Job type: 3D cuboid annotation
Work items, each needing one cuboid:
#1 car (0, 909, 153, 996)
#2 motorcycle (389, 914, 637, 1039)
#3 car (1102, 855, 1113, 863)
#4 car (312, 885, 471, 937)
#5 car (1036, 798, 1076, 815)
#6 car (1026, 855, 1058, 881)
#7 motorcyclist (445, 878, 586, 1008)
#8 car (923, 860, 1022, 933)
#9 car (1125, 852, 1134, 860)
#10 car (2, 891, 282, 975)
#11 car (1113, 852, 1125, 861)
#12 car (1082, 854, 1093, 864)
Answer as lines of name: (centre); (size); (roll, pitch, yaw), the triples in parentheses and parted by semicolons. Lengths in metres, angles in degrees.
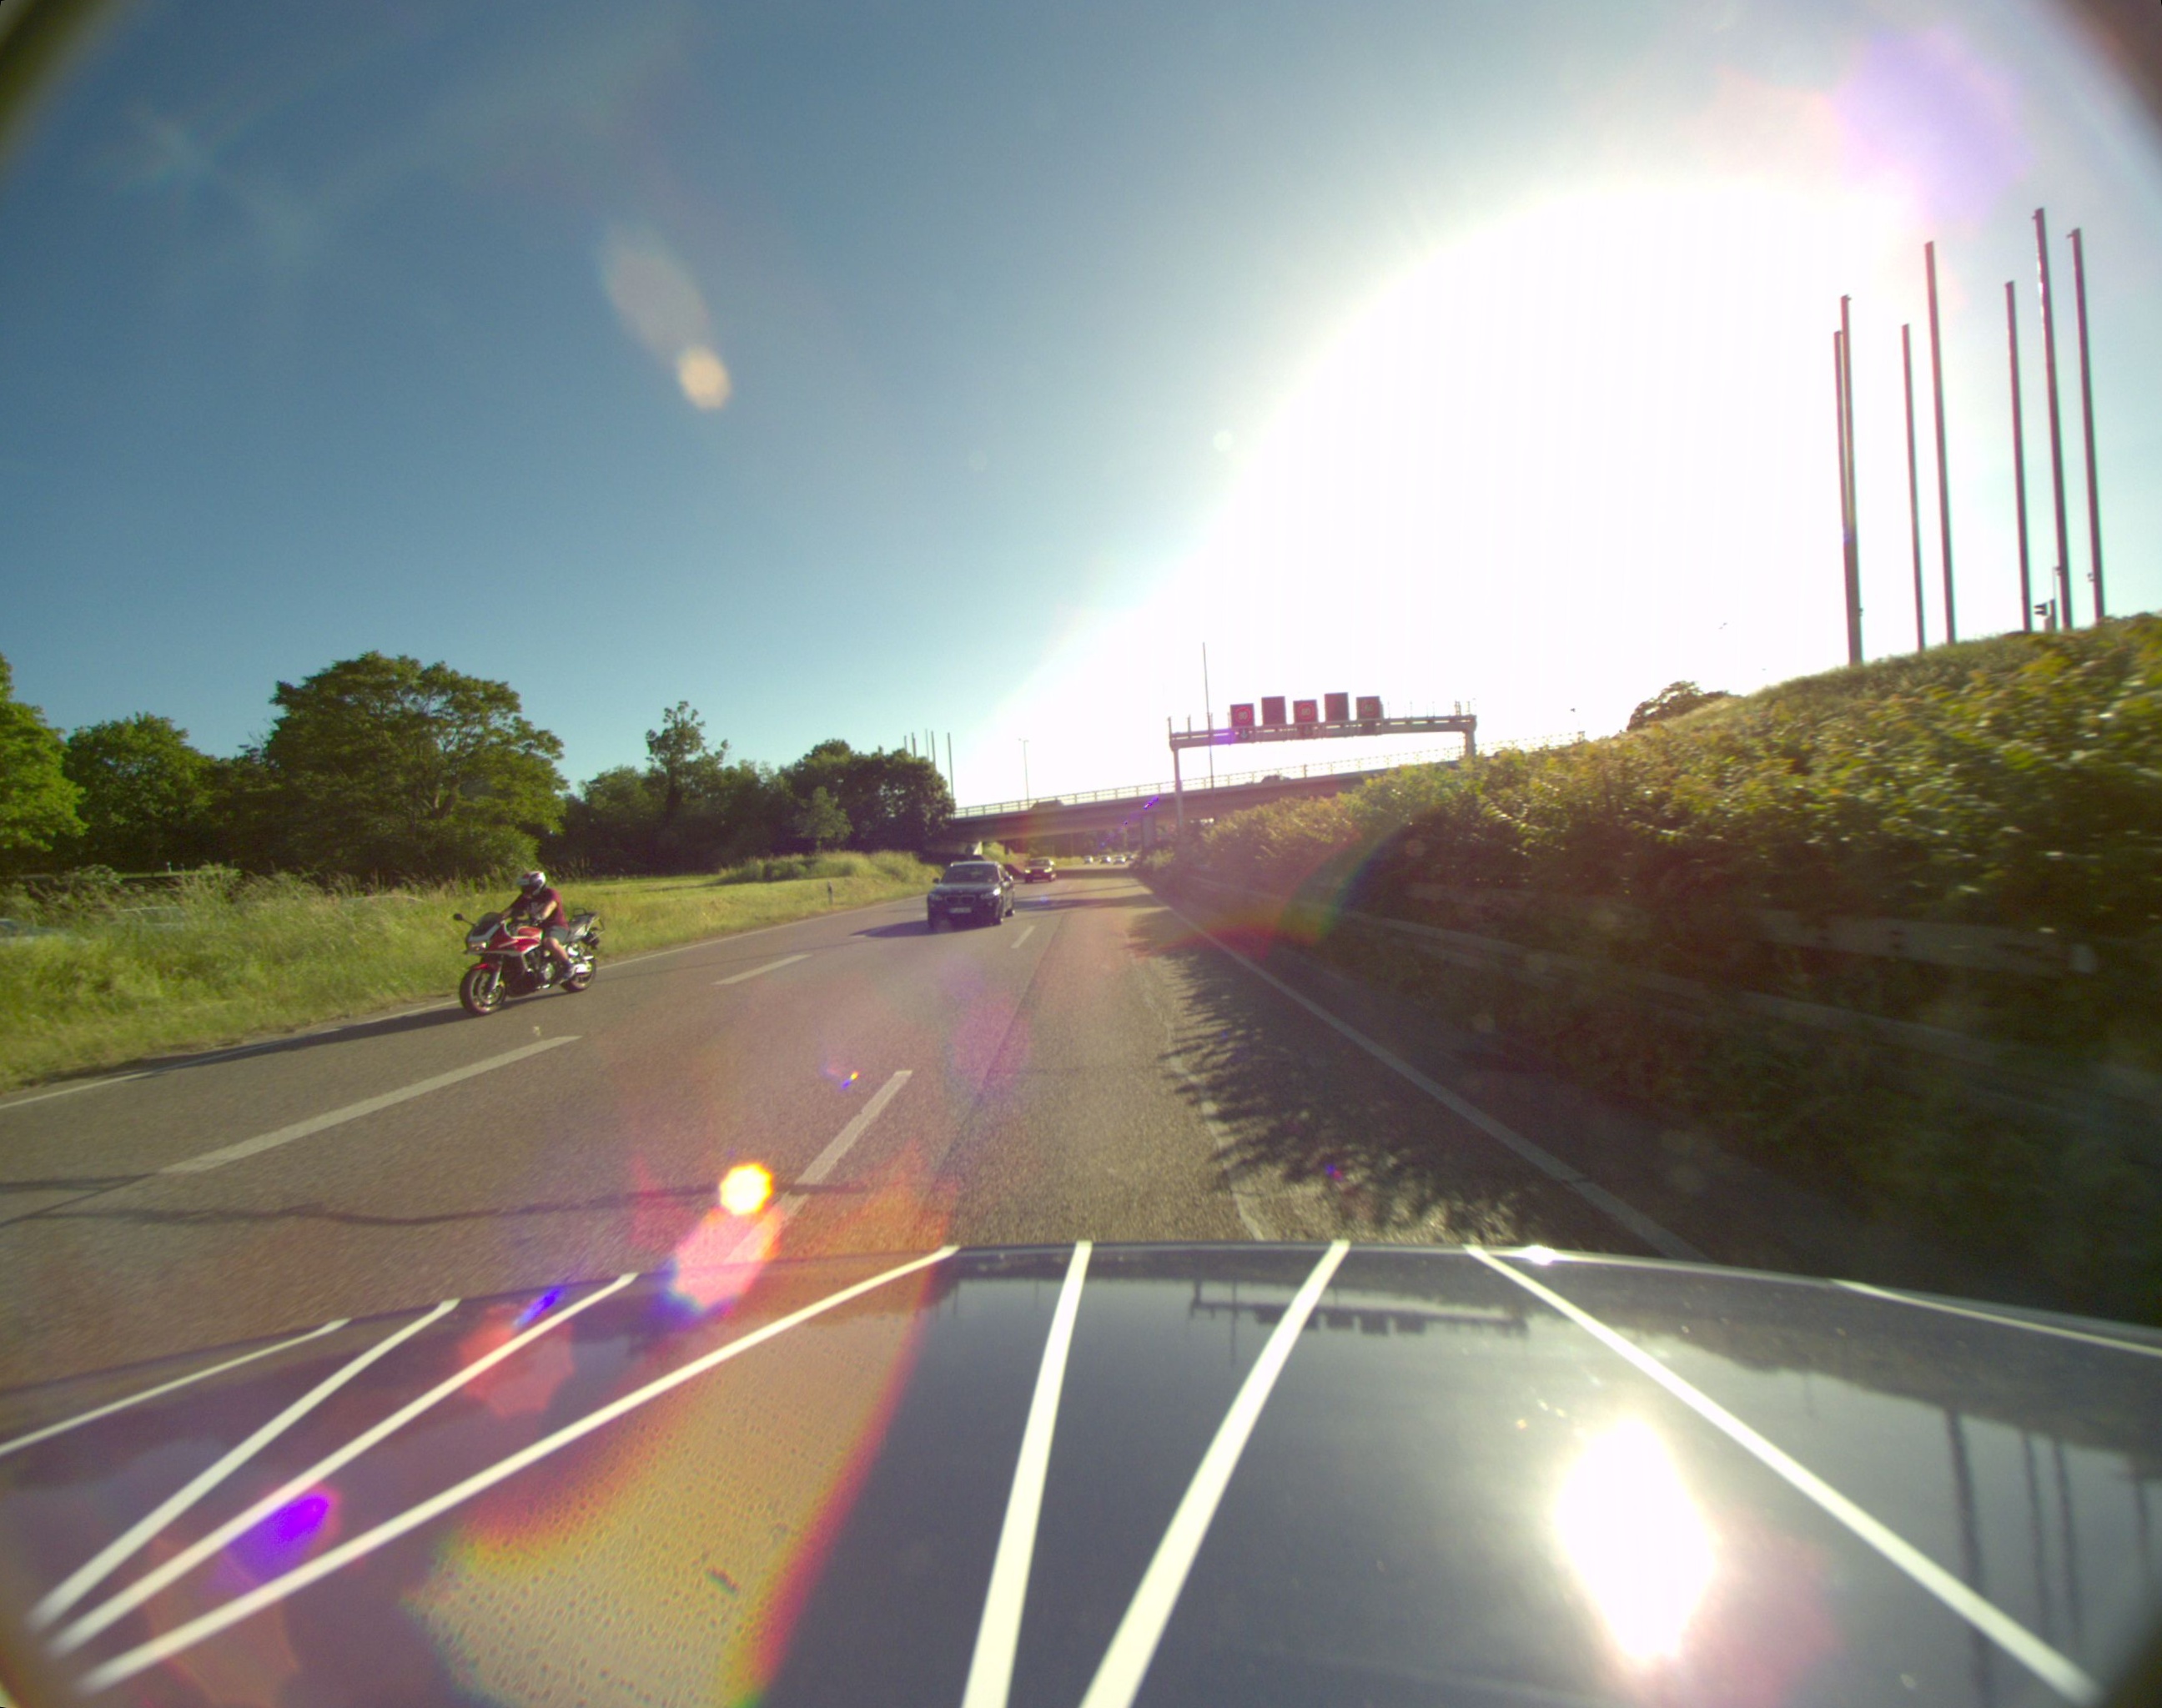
car: (-22.547, 2.071, 15.773); (3.942, 1.452, 1.923); (-3, 3, -2)
motorcycle: (-6.854, 1.410, 9.472); (0.818, 1.063, 2.836); (-2, 0, 3)
car: (4.779, 0.942, 138.102); (1.682, 1.412, 3.670); (-3, 0, 5)
car: (-25.353, 2.034, 28.028); (1.986, 1.299, 4.006); (0, 4, 39)
car: (-3.277, -6.181, 99.215); (4.712, 1.872, 2.215); (-3, 1, 30)
car: (-2.568, 0.939, 51.574); (1.759, 1.564, 4.520); (-1, 1, 2)
motorcyclist: (-6.871, 1.044, 9.294); (0.818, 1.439, 1.094); (-2, 1, 2)
car: (-2.675, 1.007, 19.776); (1.703, 1.497, 4.579); (-3, 1, 2)
car: (9.935, 0.394, 155.486); (1.682, 1.412, 3.671); (-3, 0, 6)
car: (-22.667, 1.866, 18.497); (4.121, 1.551, 1.923); (-3, 3, -2)
car: (6.219, 0.434, 125.412); (1.724, 1.412, 3.671); (-3, 0, 6)
car: (1.300, 0.956, 142.116); (1.867, 1.681, 4.001); (-2, 0, 3)
